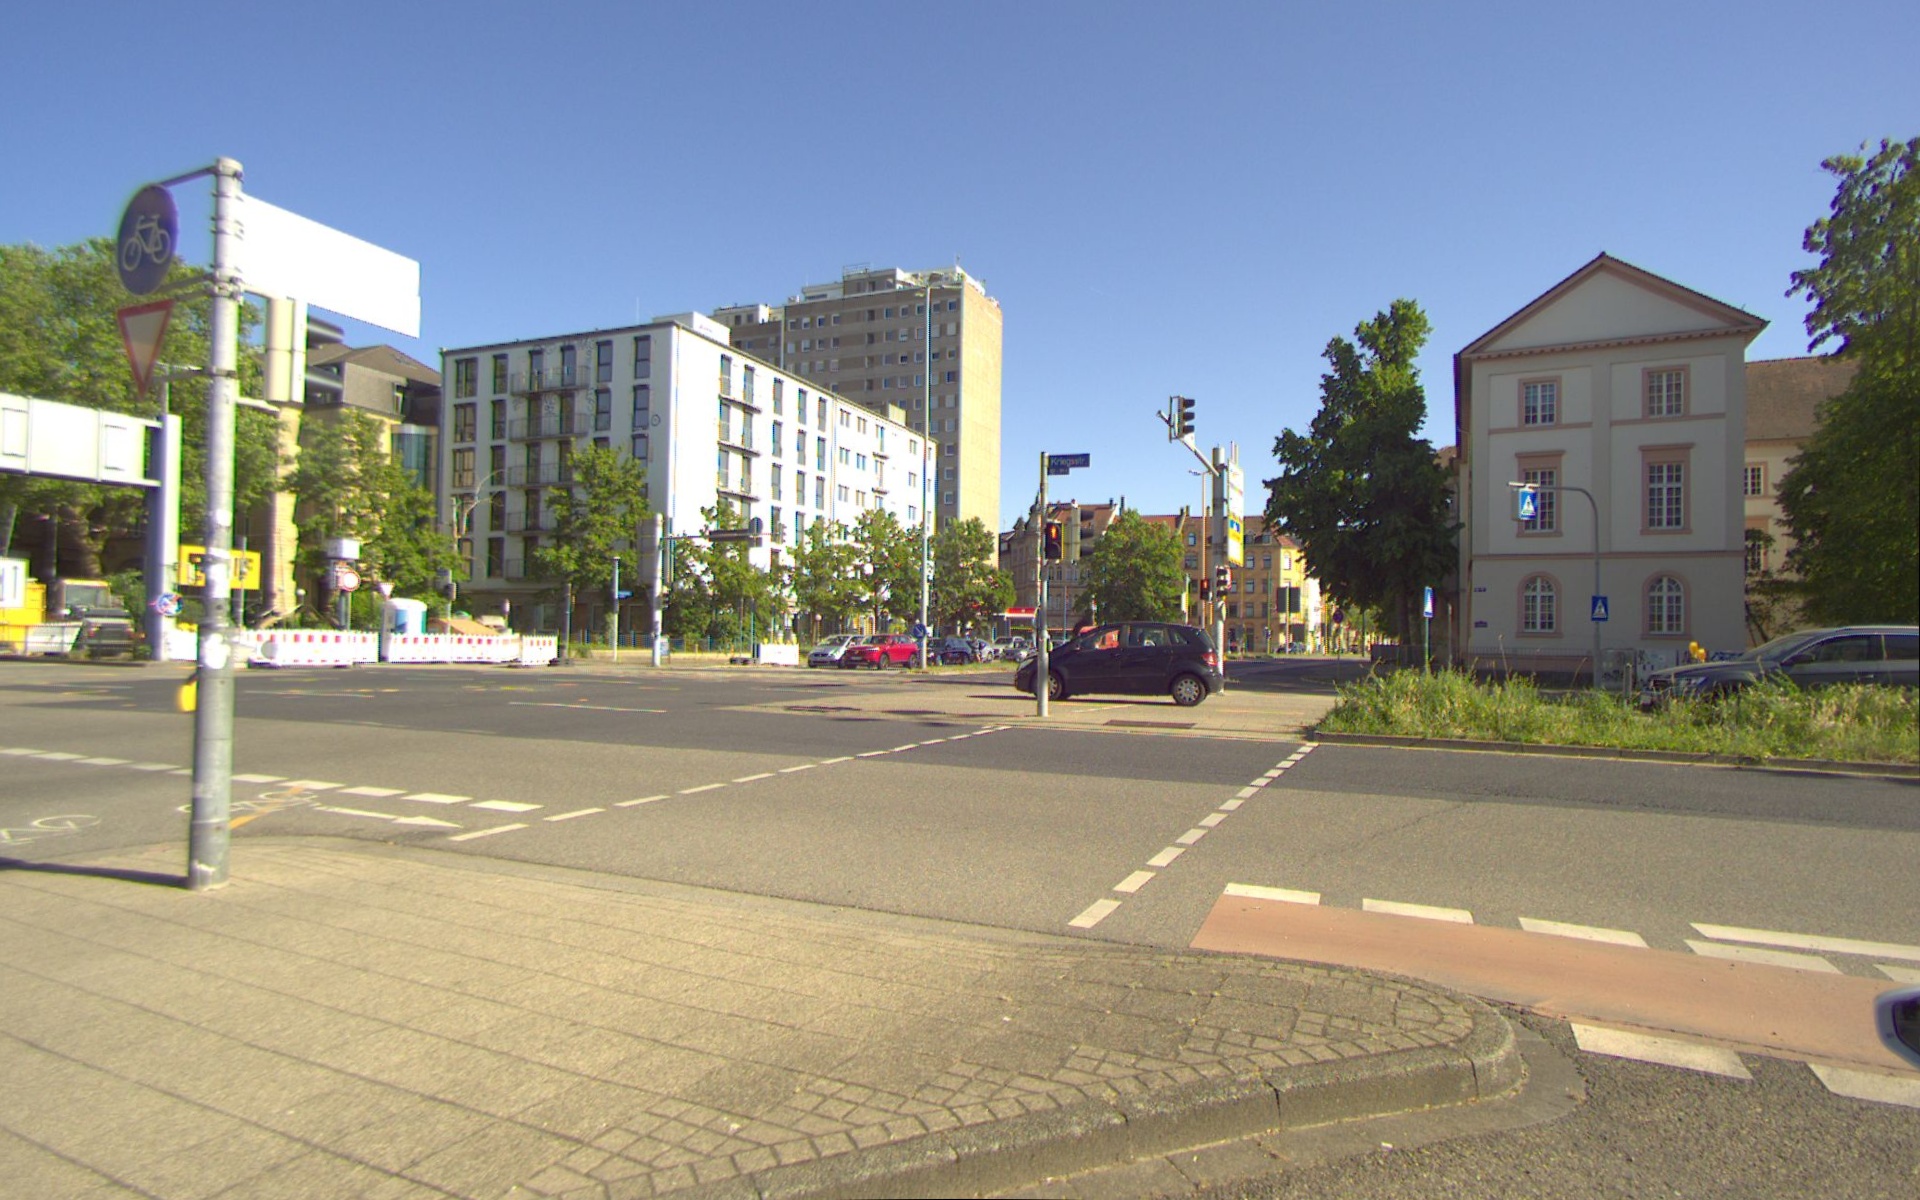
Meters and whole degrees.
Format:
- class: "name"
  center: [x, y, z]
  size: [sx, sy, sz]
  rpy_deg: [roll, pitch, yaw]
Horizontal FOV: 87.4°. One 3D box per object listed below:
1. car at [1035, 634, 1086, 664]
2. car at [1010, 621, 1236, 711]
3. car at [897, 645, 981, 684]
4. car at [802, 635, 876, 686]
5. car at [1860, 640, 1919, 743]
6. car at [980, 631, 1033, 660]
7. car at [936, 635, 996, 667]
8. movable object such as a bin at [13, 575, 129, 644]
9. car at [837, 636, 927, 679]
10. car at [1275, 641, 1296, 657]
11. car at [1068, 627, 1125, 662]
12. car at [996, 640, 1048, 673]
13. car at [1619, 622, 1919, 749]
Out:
- class: "car"
  center: [6.433, 3.072, 63.714]
  size: [1.882, 1.639, 4.709]
  rpy_deg: [3, 0, 23]
- class: "car"
  center: [3.284, 1.263, 20.096]
  size: [4.194, 1.606, 1.863]
  rpy_deg: [0, -2, 20]
- class: "car"
  center: [-0.962, 3.101, 49.262]
  size: [1.884, 1.639, 4.703]
  rpy_deg: [3, 0, 30]
- class: "car"
  center: [-5.553, 2.744, 46.604]
  size: [1.960, 2.040, 4.002]
  rpy_deg: [3, 0, 16]
- class: "car"
  center: [16.987, 1.470, 15.477]
  size: [4.261, 1.539, 1.801]
  rpy_deg: [1, -1, 20]
- class: "car"
  center: [2.969, 2.878, 64.002]
  size: [1.883, 1.639, 3.996]
  rpy_deg: [3, 0, 26]
- class: "car"
  center: [0.373, 2.927, 58.550]
  size: [1.883, 1.639, 3.996]
  rpy_deg: [3, 0, 26]
- class: "movable object such as a bin"
  center: [-35.881, 0.359, 40.540]
  size: [3.924, 2.508, 1.999]
  rpy_deg: [3, 0, 24]
- class: "car"
  center: [-3.315, 2.423, 43.244]
  size: [1.884, 1.639, 3.993]
  rpy_deg: [3, 0, 30]
- class: "car"
  center: [37.364, 5.567, 115.158]
  size: [1.819, 1.728, 3.997]
  rpy_deg: [0, -2, 25]
- class: "car"
  center: [9.769, 3.143, 71.323]
  size: [1.884, 2.260, 5.891]
  rpy_deg: [3, 0, 29]
- class: "car"
  center: [3.610, 3.234, 57.982]
  size: [1.533, 1.639, 3.996]
  rpy_deg: [3, 0, 26]
- class: "car"
  center: [11.806, 1.116, 13.800]
  size: [4.261, 1.539, 1.801]
  rpy_deg: [1, -1, 20]
